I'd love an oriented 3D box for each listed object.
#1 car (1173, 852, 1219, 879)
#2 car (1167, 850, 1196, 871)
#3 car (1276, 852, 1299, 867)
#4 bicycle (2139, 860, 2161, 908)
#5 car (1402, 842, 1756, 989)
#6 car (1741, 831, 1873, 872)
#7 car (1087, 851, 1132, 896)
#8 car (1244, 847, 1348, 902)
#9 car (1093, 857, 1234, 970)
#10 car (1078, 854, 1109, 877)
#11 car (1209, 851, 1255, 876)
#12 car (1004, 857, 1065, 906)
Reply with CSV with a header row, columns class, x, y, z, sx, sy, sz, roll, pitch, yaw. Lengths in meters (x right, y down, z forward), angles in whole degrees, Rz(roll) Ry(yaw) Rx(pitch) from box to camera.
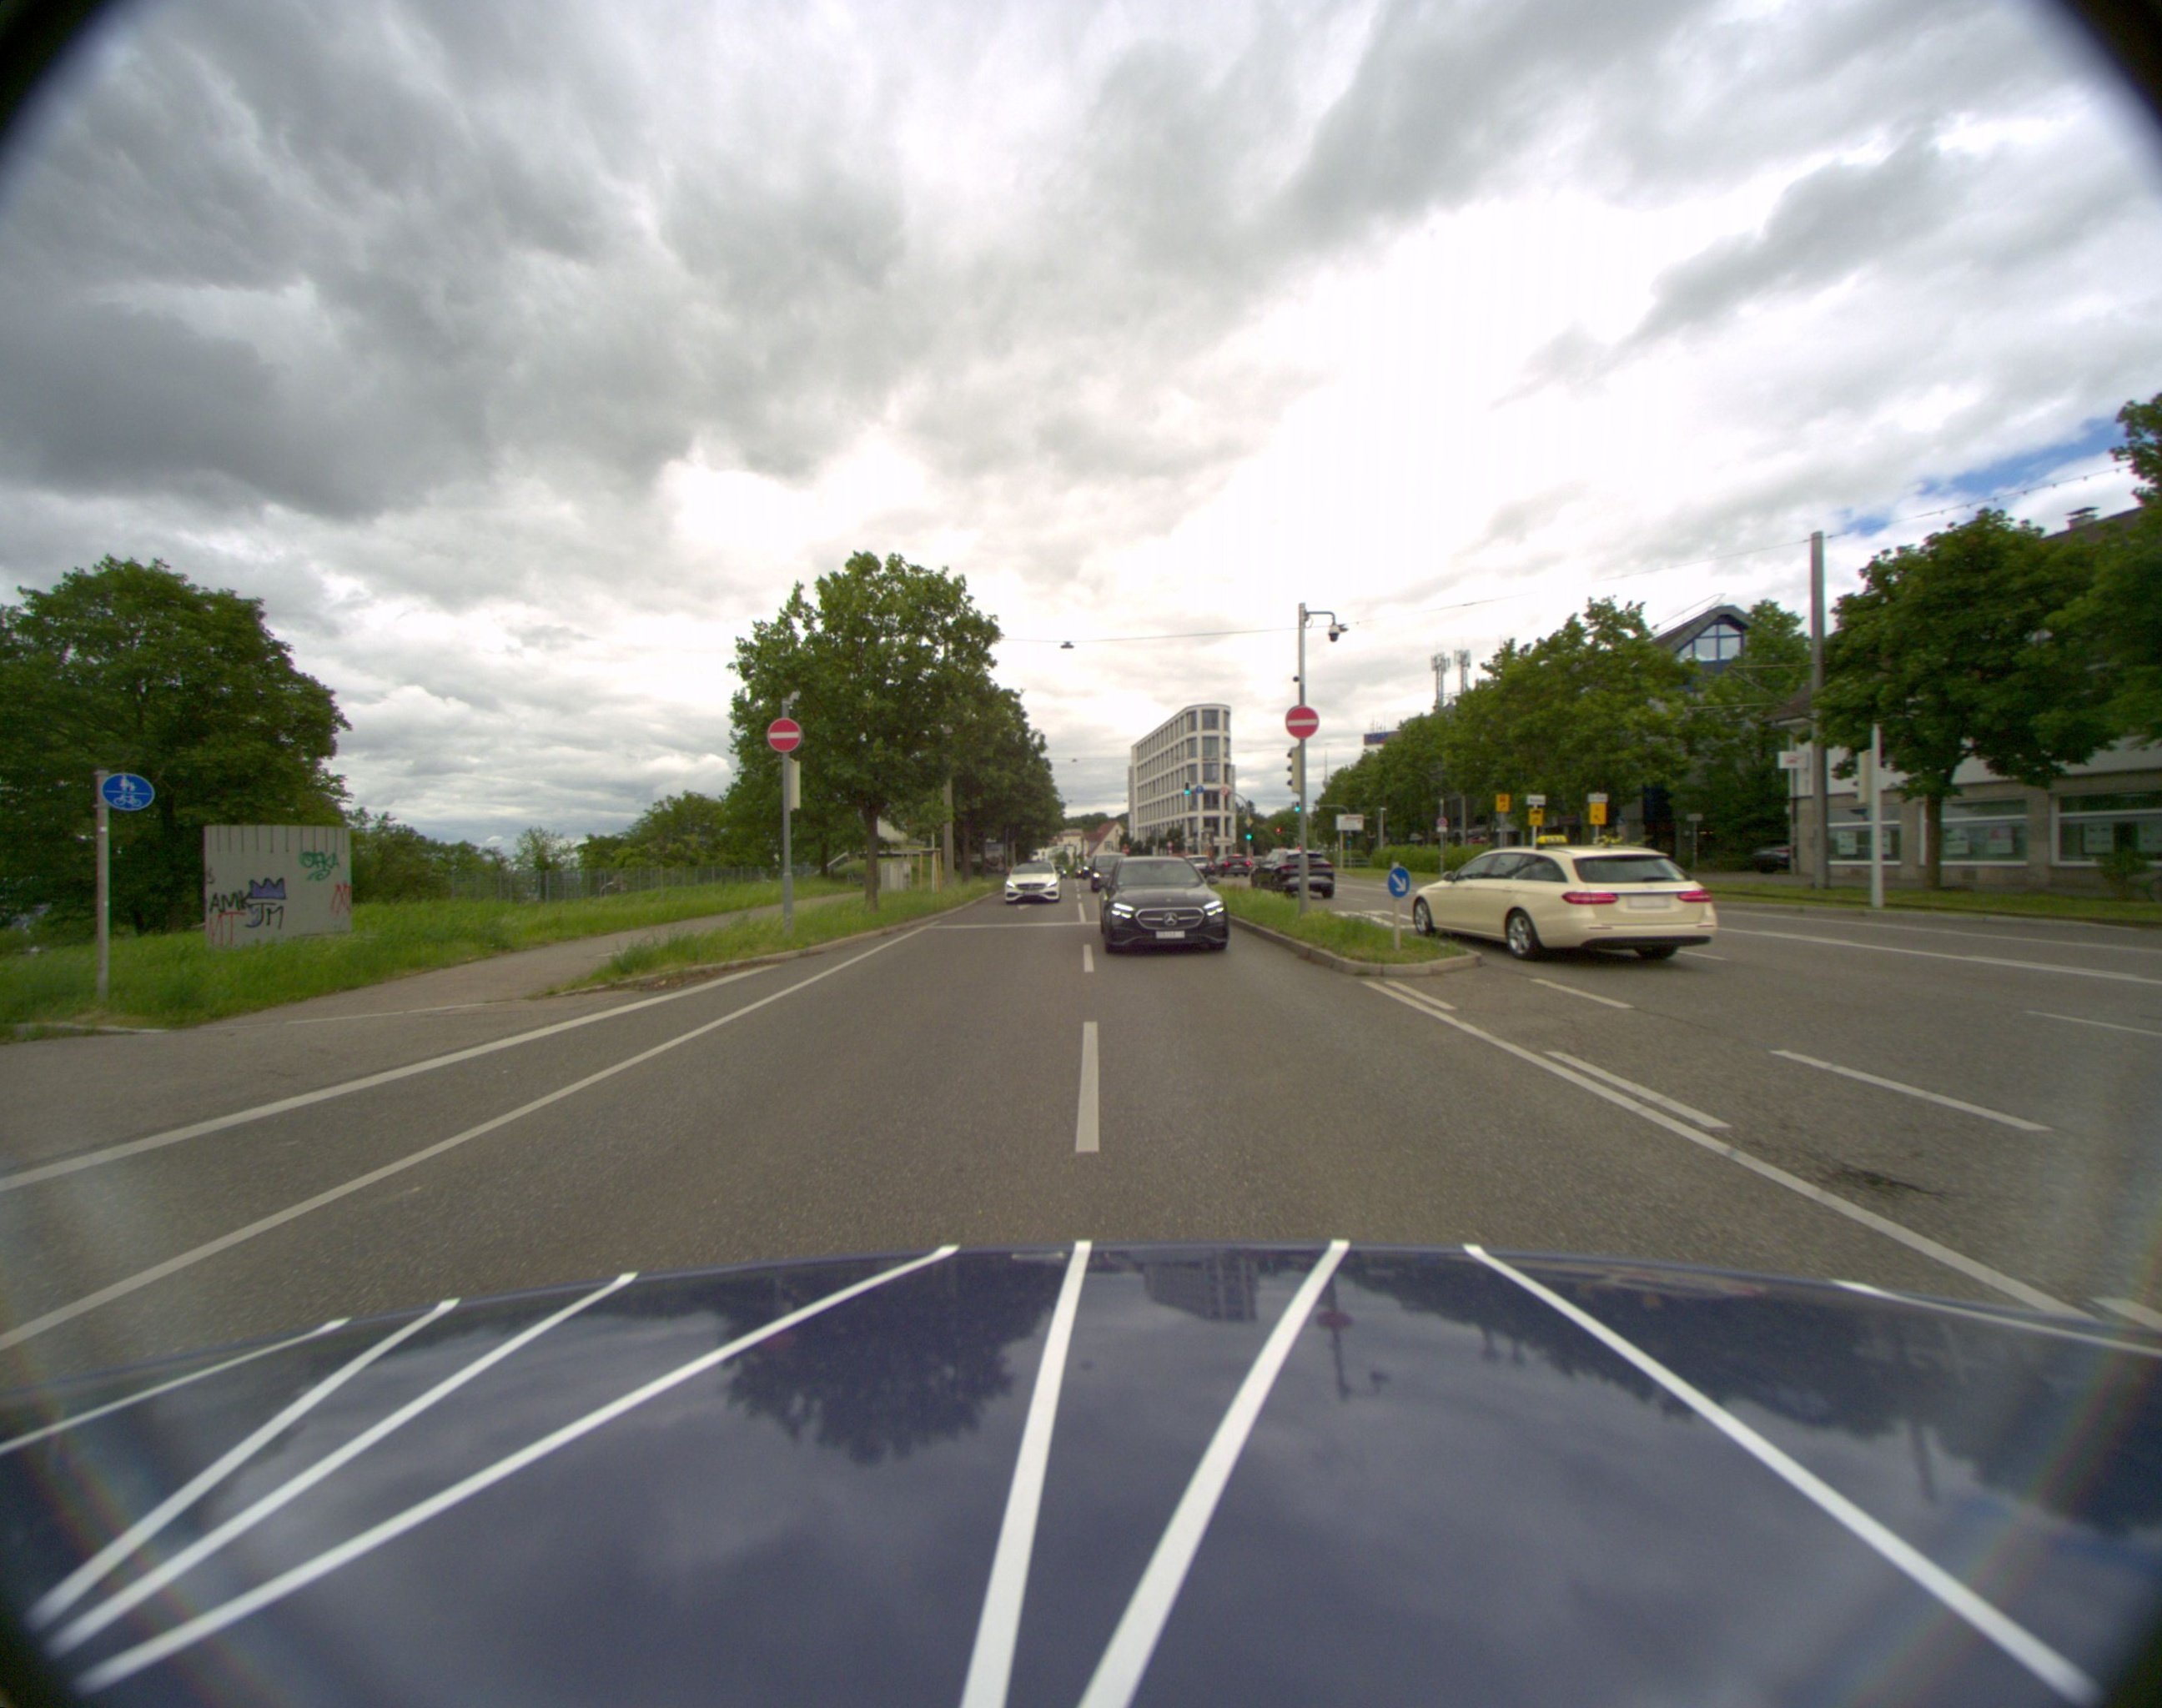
class,x,y,z,sx,sy,sz,roll,pitch,yaw
car,6.600,0.637,44.095,1.954,1.463,4.542,-1,0,-1
car,9.260,0.575,70.212,1.954,1.896,4.542,-1,0,-1
car,21.483,0.577,79.174,1.952,1.463,4.546,-1,0,11
bicycle,23.487,0.622,16.072,2.057,0.982,0.625,-1,1,-16
car,6.494,0.665,10.765,1.916,1.585,4.815,-1,0,1
car,30.702,-0.102,32.198,4.000,1.587,1.998,-1,0,-8
car,1.226,0.765,32.635,1.735,1.680,4.368,-2,1,2
car,6.840,0.596,24.720,1.954,1.585,4.772,-1,0,-1
car,1.232,0.867,13.299,1.872,1.542,4.772,-1,0,-1
car,0.878,0.762,51.829,1.734,1.474,4.371,-2,0,6
car,9.505,0.565,48.096,1.954,1.463,4.542,-1,0,-1
car,-1.532,0.884,26.704,1.872,1.496,4.772,-1,0,-1
